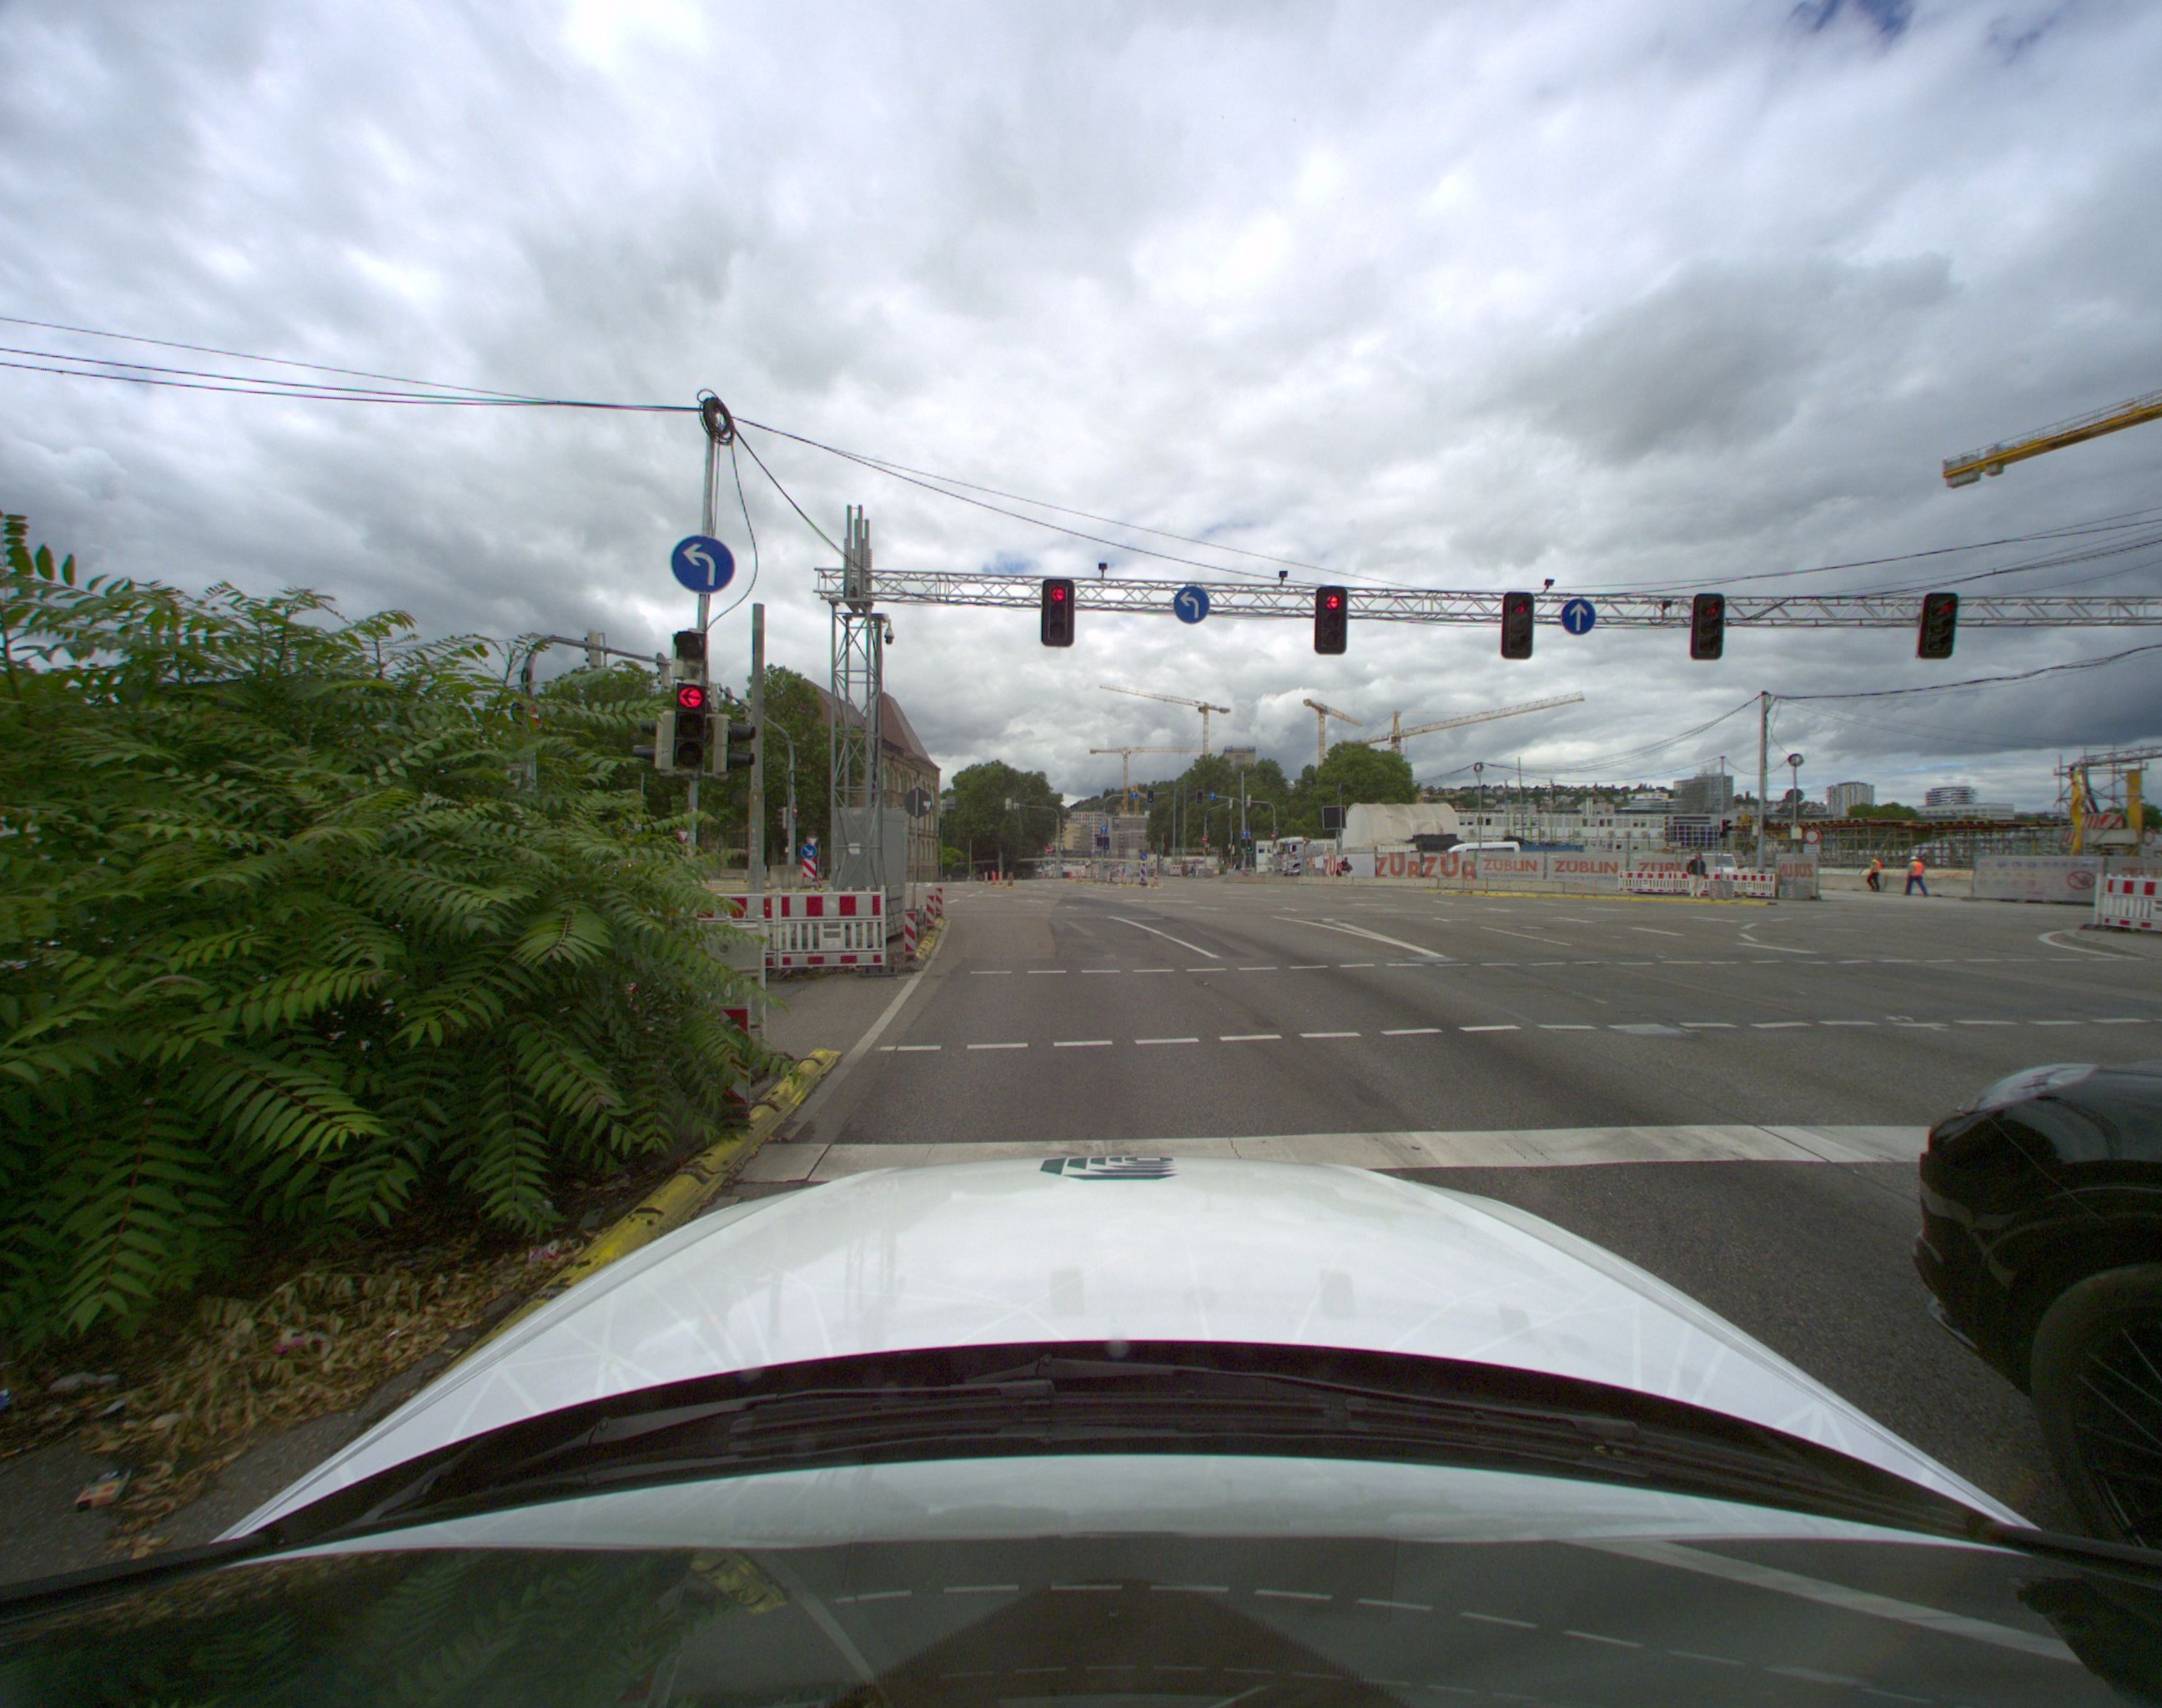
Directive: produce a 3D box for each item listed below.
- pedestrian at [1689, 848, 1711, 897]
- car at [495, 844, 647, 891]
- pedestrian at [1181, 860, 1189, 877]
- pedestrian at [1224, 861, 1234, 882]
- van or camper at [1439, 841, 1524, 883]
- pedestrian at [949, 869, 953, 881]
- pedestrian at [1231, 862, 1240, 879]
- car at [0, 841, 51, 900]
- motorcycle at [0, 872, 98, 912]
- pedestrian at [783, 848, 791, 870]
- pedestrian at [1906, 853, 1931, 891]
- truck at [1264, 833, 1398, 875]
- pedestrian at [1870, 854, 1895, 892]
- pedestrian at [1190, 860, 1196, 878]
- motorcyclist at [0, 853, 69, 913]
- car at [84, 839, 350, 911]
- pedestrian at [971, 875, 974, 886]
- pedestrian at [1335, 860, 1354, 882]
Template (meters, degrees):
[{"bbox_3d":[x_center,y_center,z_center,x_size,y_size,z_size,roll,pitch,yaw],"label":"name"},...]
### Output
[{"bbox_3d":[25.660,0.751,33.759,0.645,2.013,0.520,0,0,27],"label":"pedestrian"},{"bbox_3d":[-18.819,0.482,30.243,4.315,1.676,1.992,0,0,-12],"label":"car"},{"bbox_3d":[10.210,1.446,79.997,0.726,1.689,0.678,0,0,1],"label":"pedestrian"},{"bbox_3d":[12.241,1.443,67.328,0.726,1.689,0.678,0,0,1],"label":"pedestrian"},{"bbox_3d":[23.147,0.427,47.206,4.181,2.357,2.009,0,0,16],"label":"van or camper"},{"bbox_3d":[-21.034,3.415,131.363,0.522,2.014,0.567,0,0,2],"label":"pedestrian"},{"bbox_3d":[15.421,1.600,81.257,0.615,1.689,0.716,0,0,31],"label":"pedestrian"},{"bbox_3d":[-32.924,0.452,23.241,4.302,1.676,1.998,0,0,-3],"label":"car"},{"bbox_3d":[-25.470,0.912,19.804,2.051,0.924,0.756,0,0,-4],"label":"motorcycle"},{"bbox_3d":[-26.761,0.419,74.138,0.530,2.014,0.423,1,-1,-42],"label":"pedestrian"},{"bbox_3d":[37.918,0.793,36.866,0.651,1.717,0.516,0,0,-9],"label":"pedestrian"},{"bbox_3d":[25.025,-0.006,81.593,13.062,4.041,3.926,0,0,-18],"label":"truck"},{"bbox_3d":[38.884,0.916,39.519,0.651,1.795,0.617,0,0,-7],"label":"pedestrian"},{"bbox_3d":[11.075,1.471,80.444,0.564,1.689,0.472,0,0,1],"label":"pedestrian"},{"bbox_3d":[-25.560,0.693,19.793,0.963,1.423,0.745,0,0,-4],"label":"motorcyclist"},{"bbox_3d":[-21.294,0.502,20.247,4.302,1.676,1.998,0,0,-3],"label":"car"},{"bbox_3d":[-21.079,5.191,158.420,0.522,2.014,0.567,0,0,2],"label":"pedestrian"},{"bbox_3d":[16.136,1.035,49.894,0.798,1.378,0.900,0,0,-15],"label":"pedestrian"}]
